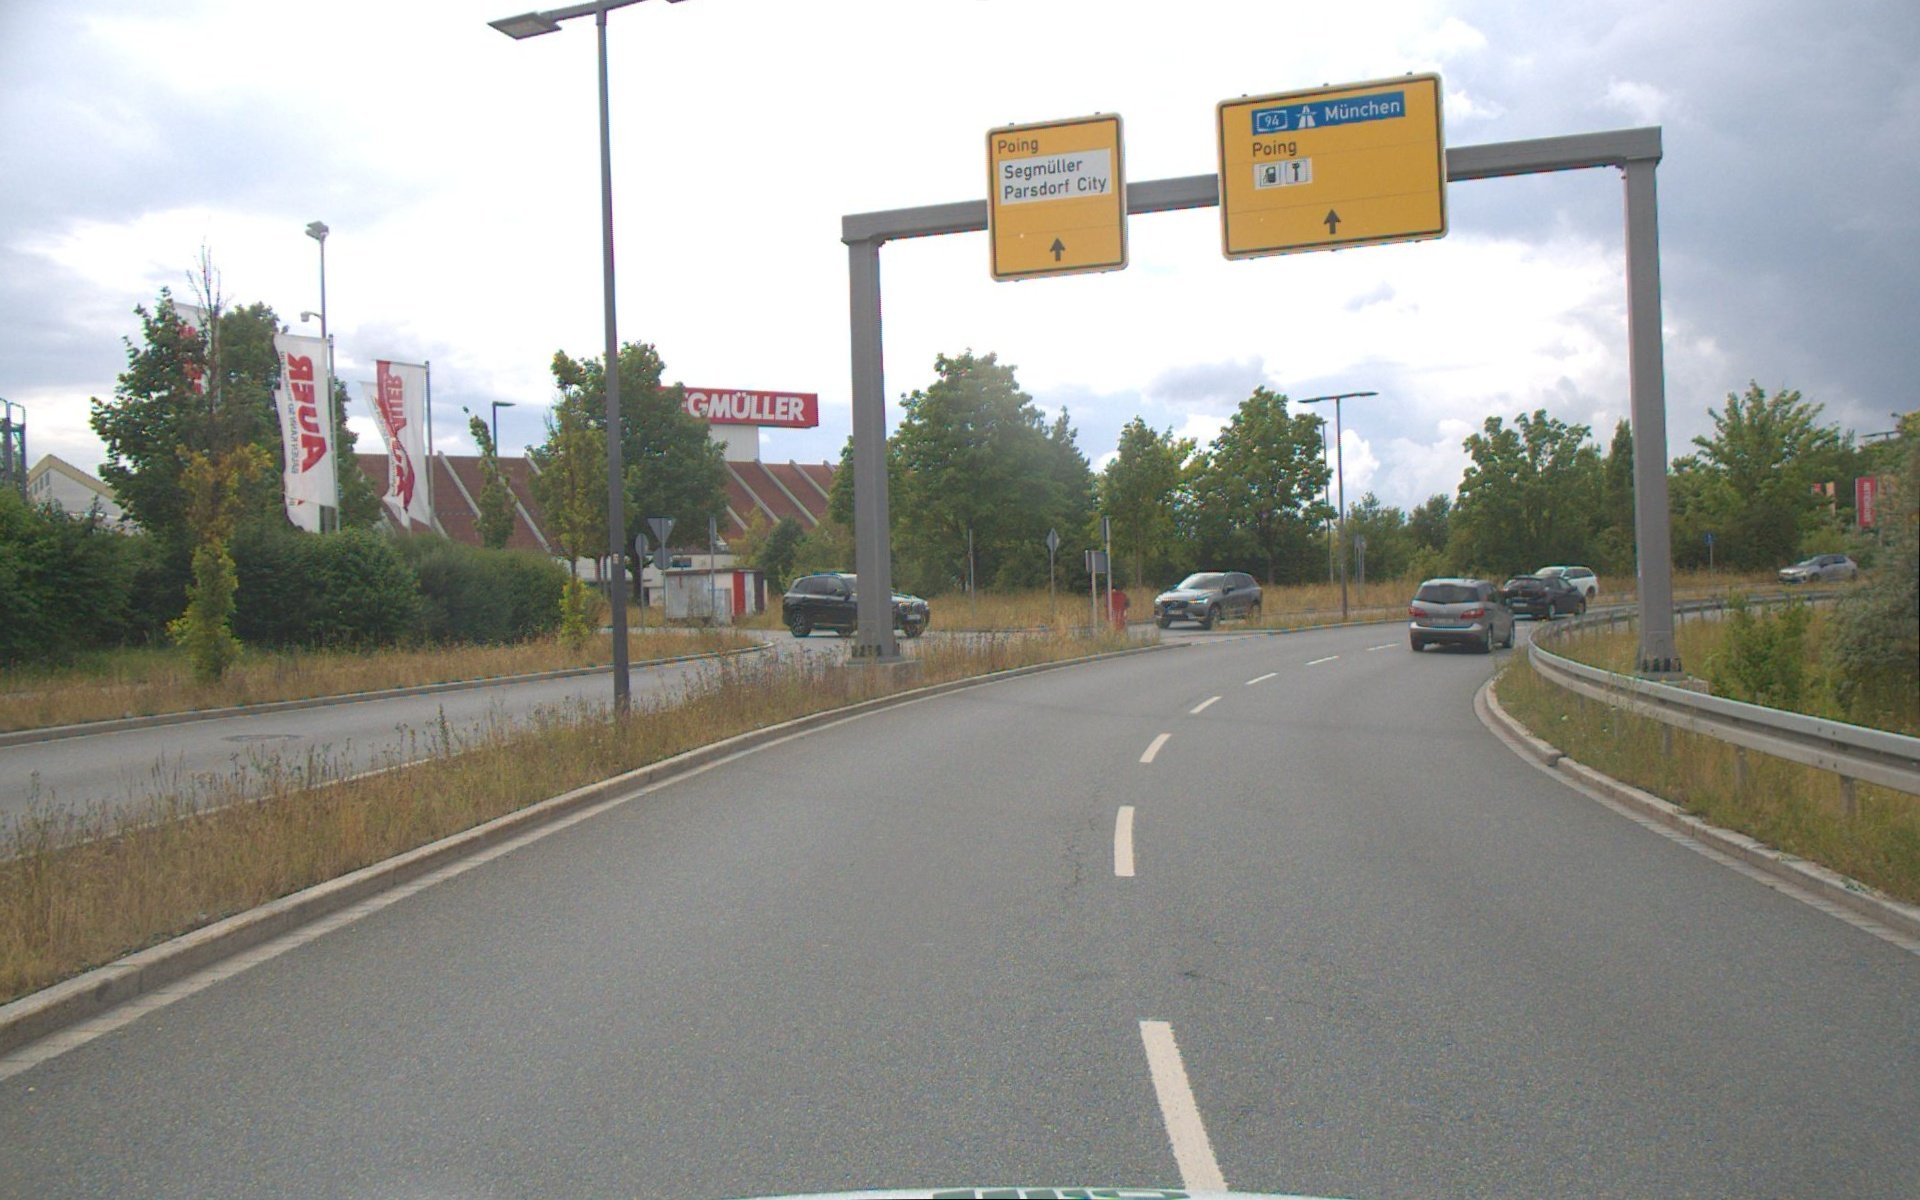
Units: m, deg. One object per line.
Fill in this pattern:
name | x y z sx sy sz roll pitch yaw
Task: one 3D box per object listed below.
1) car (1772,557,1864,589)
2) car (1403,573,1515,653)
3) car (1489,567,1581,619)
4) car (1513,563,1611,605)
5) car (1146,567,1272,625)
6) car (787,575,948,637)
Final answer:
car | 41.152 -1.300 79.345 4.014 1.512 1.458 0 0 -15
car | 11.450 0.343 37.818 1.733 1.645 3.916 -2 -3 27
car | 18.930 -0.237 54.399 1.838 1.633 3.719 0 0 37
car | 25.214 -0.664 69.265 4.214 1.663 1.701 -1 0 -33
car | 7.635 -0.154 50.395 1.780 1.658 4.667 2 1 37
car | -2.514 0.144 44.257 4.176 1.577 1.864 0 1 40
